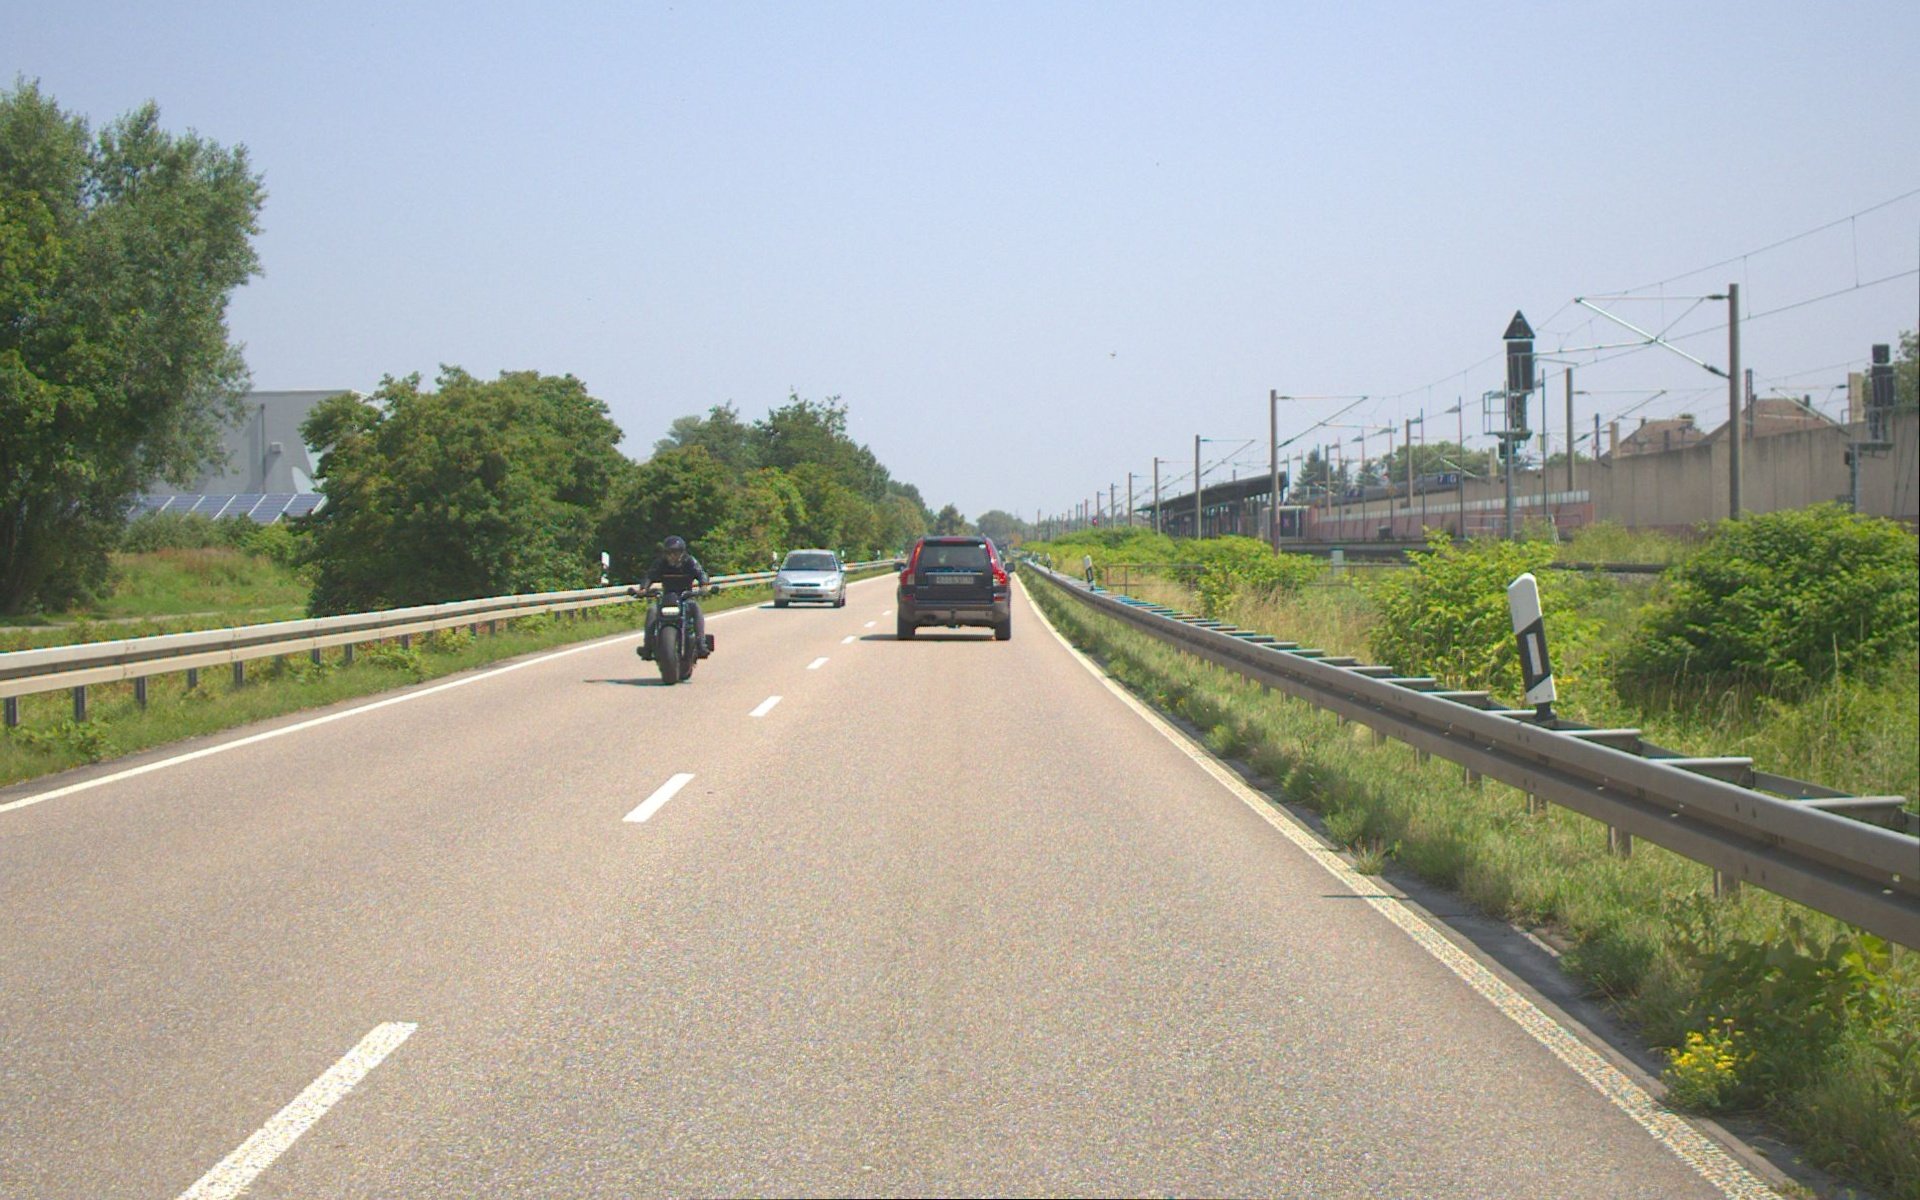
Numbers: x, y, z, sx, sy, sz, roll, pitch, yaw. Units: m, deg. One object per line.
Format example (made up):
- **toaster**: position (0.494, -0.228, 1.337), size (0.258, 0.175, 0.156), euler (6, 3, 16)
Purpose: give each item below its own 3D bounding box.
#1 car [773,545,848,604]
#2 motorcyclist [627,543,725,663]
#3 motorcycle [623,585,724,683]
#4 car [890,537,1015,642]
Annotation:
- **car**: position (-3.827, -0.668, 88.473), size (1.698, 1.469, 4.686), euler (1, 1, 0)
- **motorcyclist**: position (-3.163, 0.027, 38.330), size (0.993, 1.305, 0.935), euler (1, 1, 0)
- **motorcycle**: position (-3.180, 0.363, 38.351), size (0.928, 1.024, 2.268), euler (1, 1, 0)
- **car**: position (-0.155, -0.197, 57.759), size (1.993, 1.694, 4.000), euler (0, 1, -2)
